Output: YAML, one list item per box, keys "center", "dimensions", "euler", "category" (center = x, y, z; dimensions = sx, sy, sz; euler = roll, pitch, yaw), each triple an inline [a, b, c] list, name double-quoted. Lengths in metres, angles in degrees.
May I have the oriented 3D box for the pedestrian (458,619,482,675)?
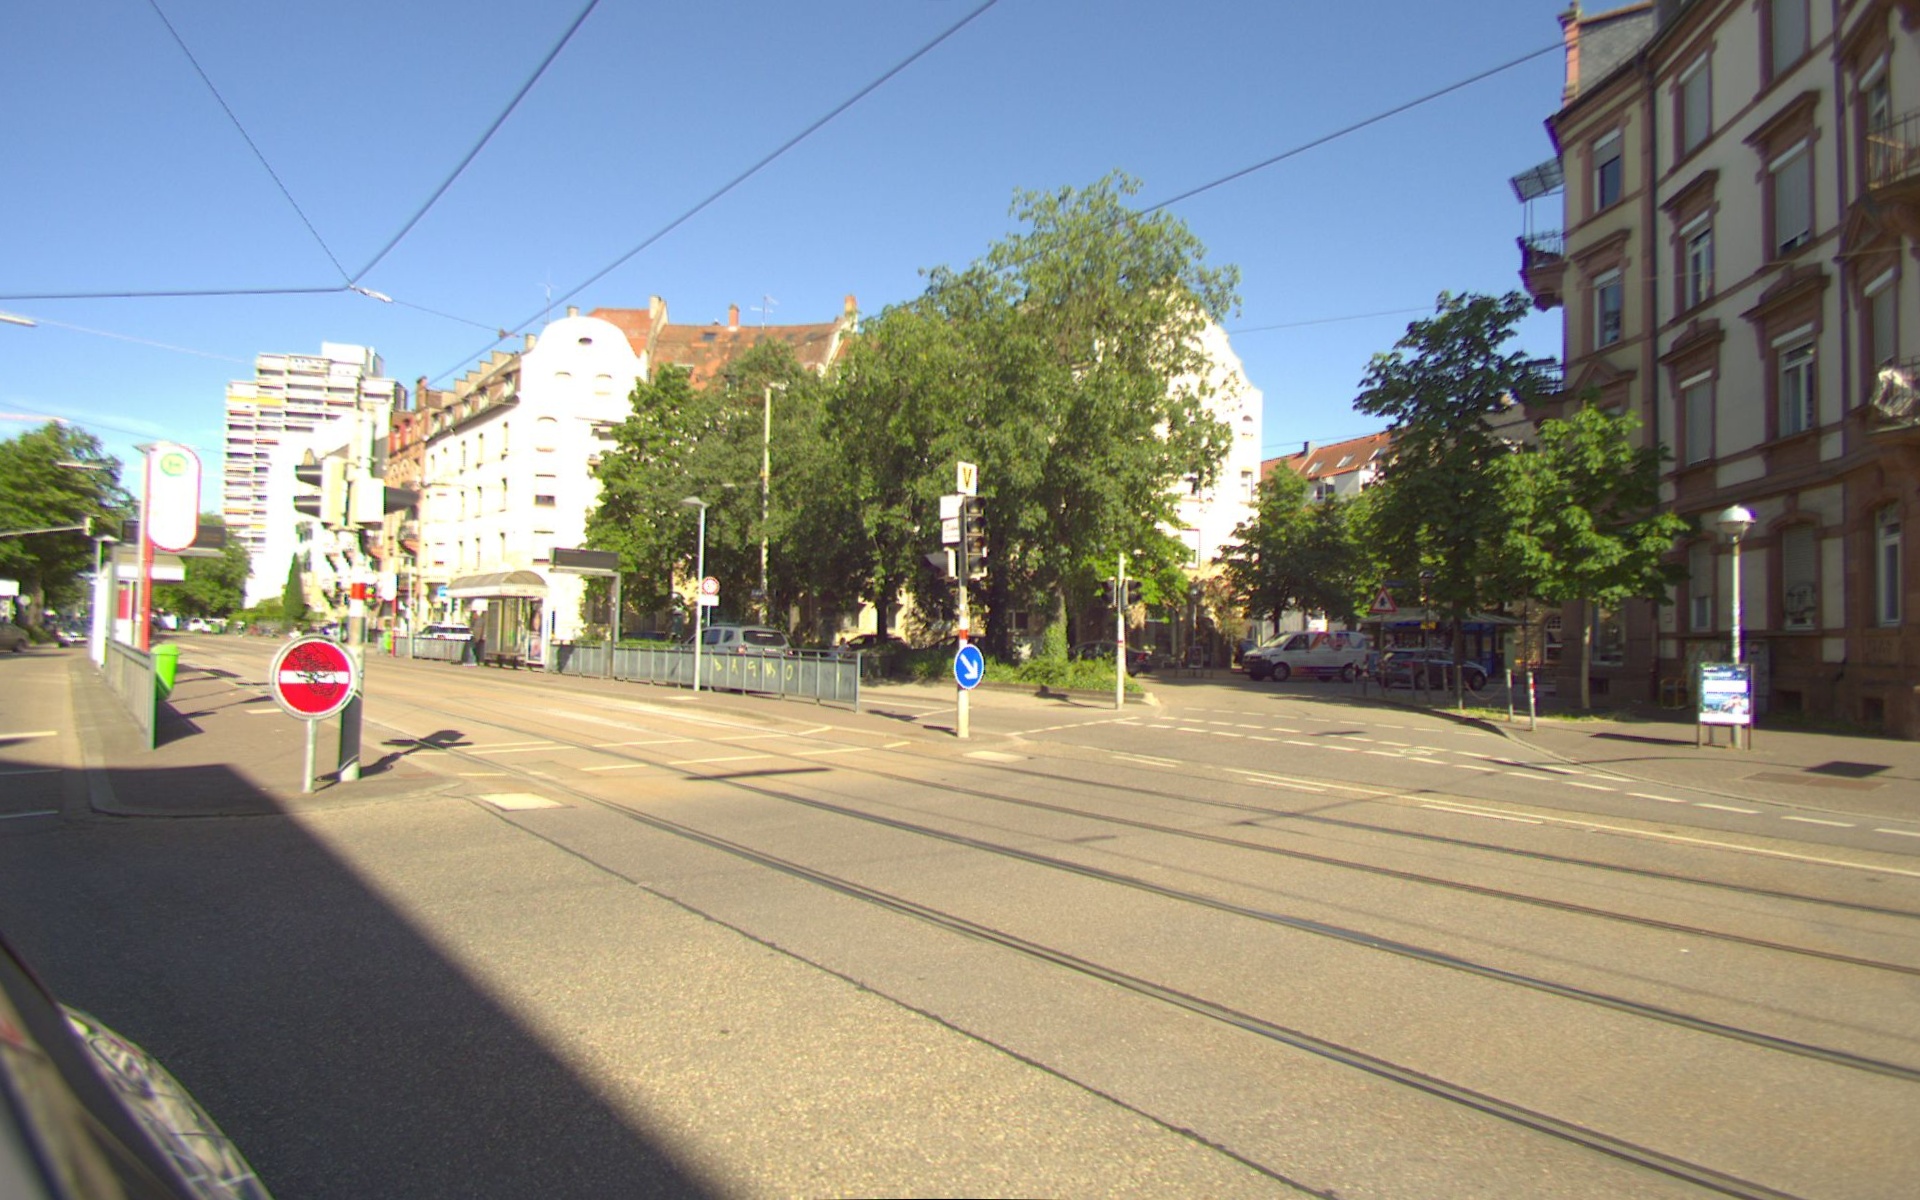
- center: [-15.820, 1.517, 32.702]
  dimensions: [0.459, 1.798, 0.674]
  euler: [3, -4, -43]
  category: "pedestrian"

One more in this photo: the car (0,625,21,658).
- center: [-42.026, 1.767, 42.790]
  dimensions: [1.699, 1.409, 3.620]
  euler: [0, -2, -10]
  category: "car"

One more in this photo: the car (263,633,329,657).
- center: [-50.180, 3.358, 76.552]
  dimensions: [1.819, 1.600, 3.832]
  euler: [4, 2, 43]
  category: "car"

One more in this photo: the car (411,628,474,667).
- center: [-23.017, 2.077, 44.944]
  dimensions: [1.669, 1.552, 3.806]
  euler: [7, -5, -38]
  category: "car"

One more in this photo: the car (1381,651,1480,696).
- center: [16.479, 2.535, 35.408]
  dimensions: [3.398, 1.453, 1.583]
  euler: [1, -2, -33]
  category: "car"

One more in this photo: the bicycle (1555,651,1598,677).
- center: [24.575, 2.534, 40.350]
  dimensions: [1.522, 1.000, 0.576]
  euler: [0, -2, -16]
  category: "bicycle"

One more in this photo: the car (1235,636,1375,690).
- center: [13.256, 2.393, 39.017]
  dimensions: [4.777, 1.957, 1.930]
  euler: [0, -2, -13]
  category: "car"

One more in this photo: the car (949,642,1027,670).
- center: [1.202, 2.394, 43.505]
  dimensions: [3.142, 1.104, 1.449]
  euler: [-1, -2, 40]
  category: "car"

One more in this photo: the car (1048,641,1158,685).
- center: [5.711, 2.490, 40.354]
  dimensions: [3.996, 1.554, 1.724]
  euler: [1, -4, 27]
  category: "car"

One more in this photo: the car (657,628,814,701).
- center: [-5.649, 1.563, 25.166]
  dimensions: [1.874, 1.630, 4.270]
  euler: [5, -4, -42]
  category: "car"

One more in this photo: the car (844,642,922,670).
- center: [-3.595, 2.580, 46.885]
  dimensions: [3.448, 1.225, 1.510]
  euler: [-1, -2, 34]
  category: "car"
